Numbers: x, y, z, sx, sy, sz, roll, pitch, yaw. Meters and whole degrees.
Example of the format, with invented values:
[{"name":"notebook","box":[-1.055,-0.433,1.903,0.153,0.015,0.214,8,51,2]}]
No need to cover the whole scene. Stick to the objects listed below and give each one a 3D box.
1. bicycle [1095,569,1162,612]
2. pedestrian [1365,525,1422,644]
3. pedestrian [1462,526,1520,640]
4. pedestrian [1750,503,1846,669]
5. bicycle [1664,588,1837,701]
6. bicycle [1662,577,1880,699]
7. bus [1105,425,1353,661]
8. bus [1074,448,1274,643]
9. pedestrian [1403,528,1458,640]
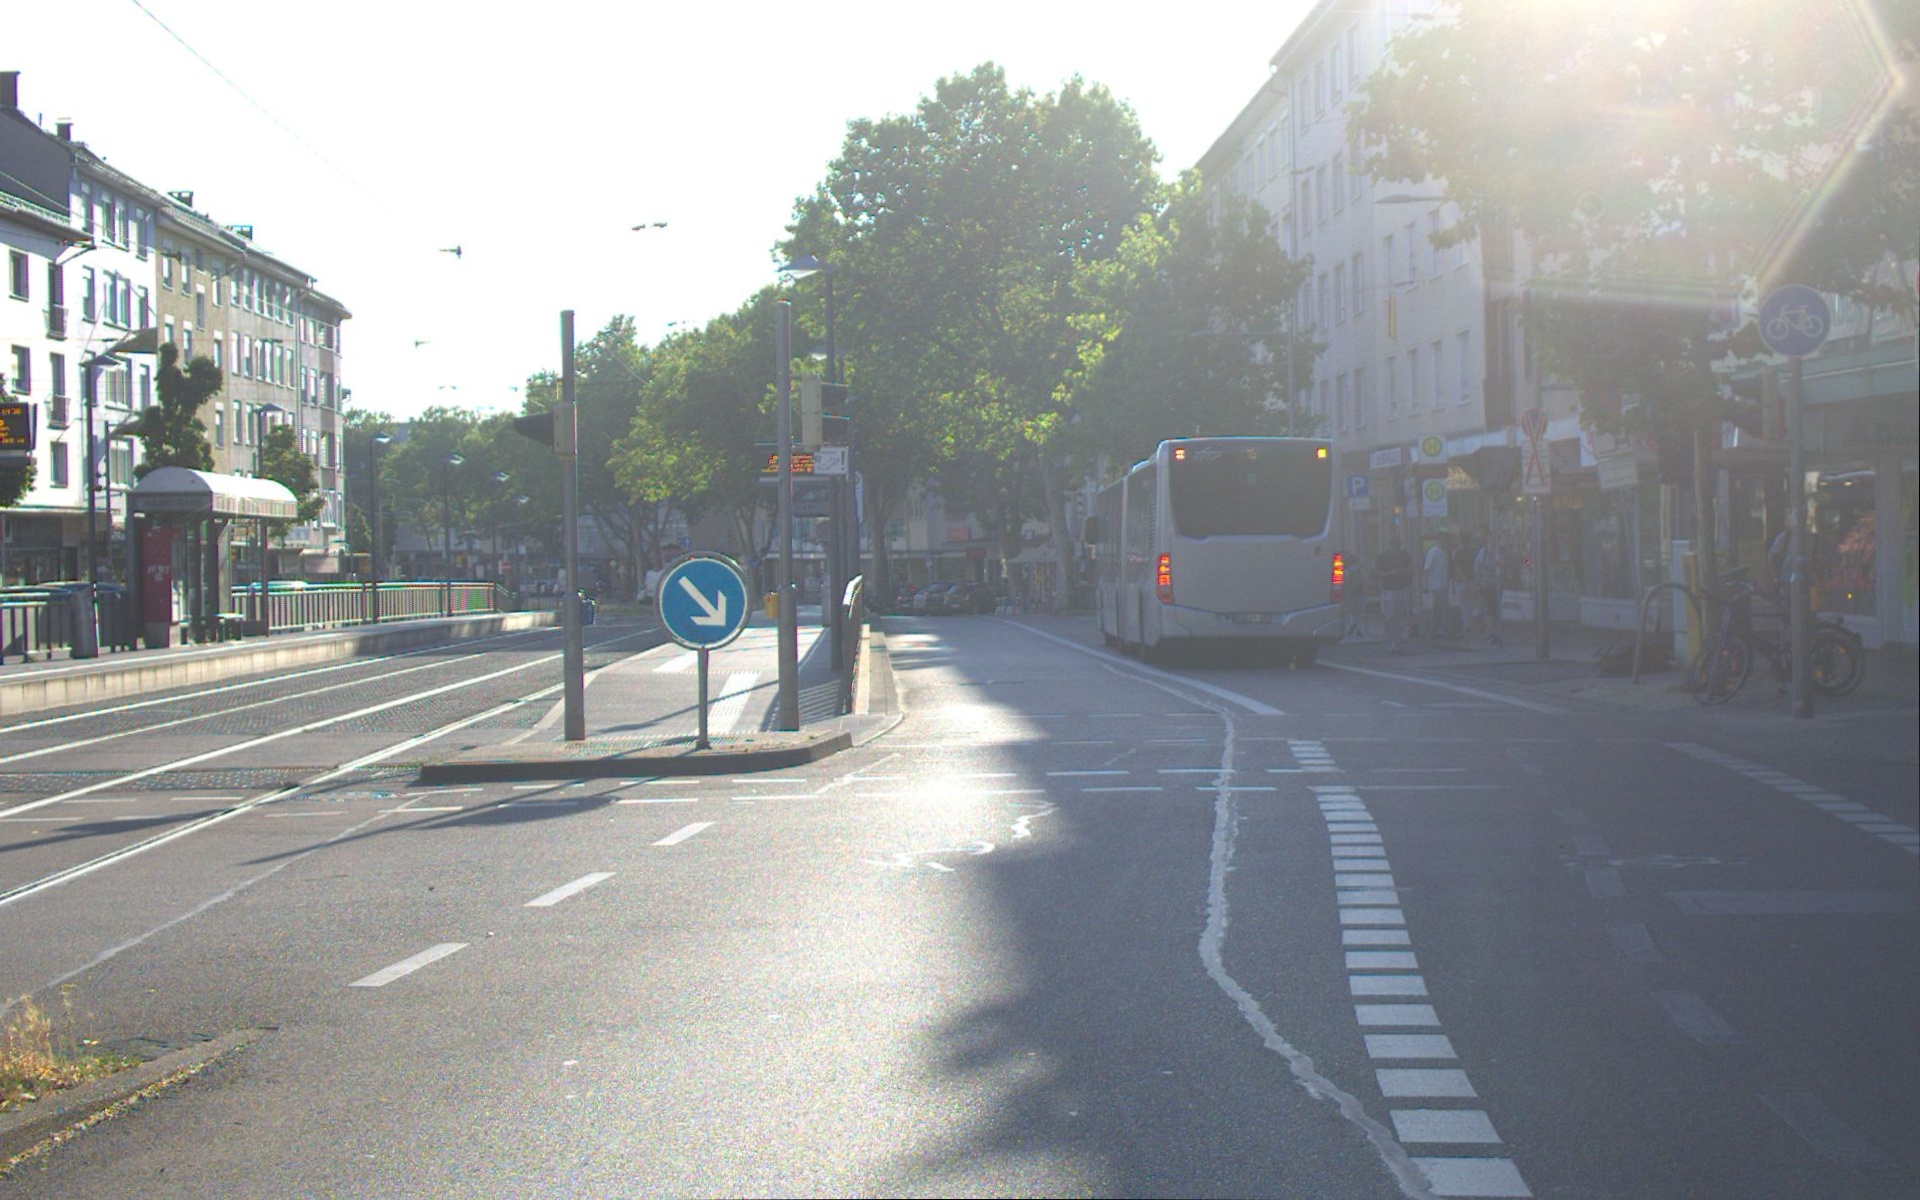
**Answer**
[{"name":"bicycle","box":[4.940,-0.282,100.948,1.887,1.073,0.754,-5,1,2]},{"name":"pedestrian","box":[6.643,-0.243,52.745,0.723,1.800,0.766,-1,0,-1]},{"name":"pedestrian","box":[8.137,-0.261,52.720,0.723,1.717,0.766,-1,0,-1]},{"name":"pedestrian","box":[9.217,-0.155,37.823,0.743,1.774,0.895,-3,0,-1]},{"name":"bicycle","box":[7.328,0.412,31.900,1.482,1.005,0.454,-1,1,-4]},{"name":"bicycle","box":[7.358,0.340,31.223,1.798,1.005,0.541,-3,1,-4]},{"name":"bus","box":[3.752,-0.811,50.174,2.696,3.107,9.382,0,1,-1]},{"name":"bus","box":[3.566,-0.918,59.362,2.696,3.107,9.070,0,1,-1]},{"name":"pedestrian","box":[7.516,-0.255,54.931,0.723,1.773,0.766,-1,0,-1]}]
